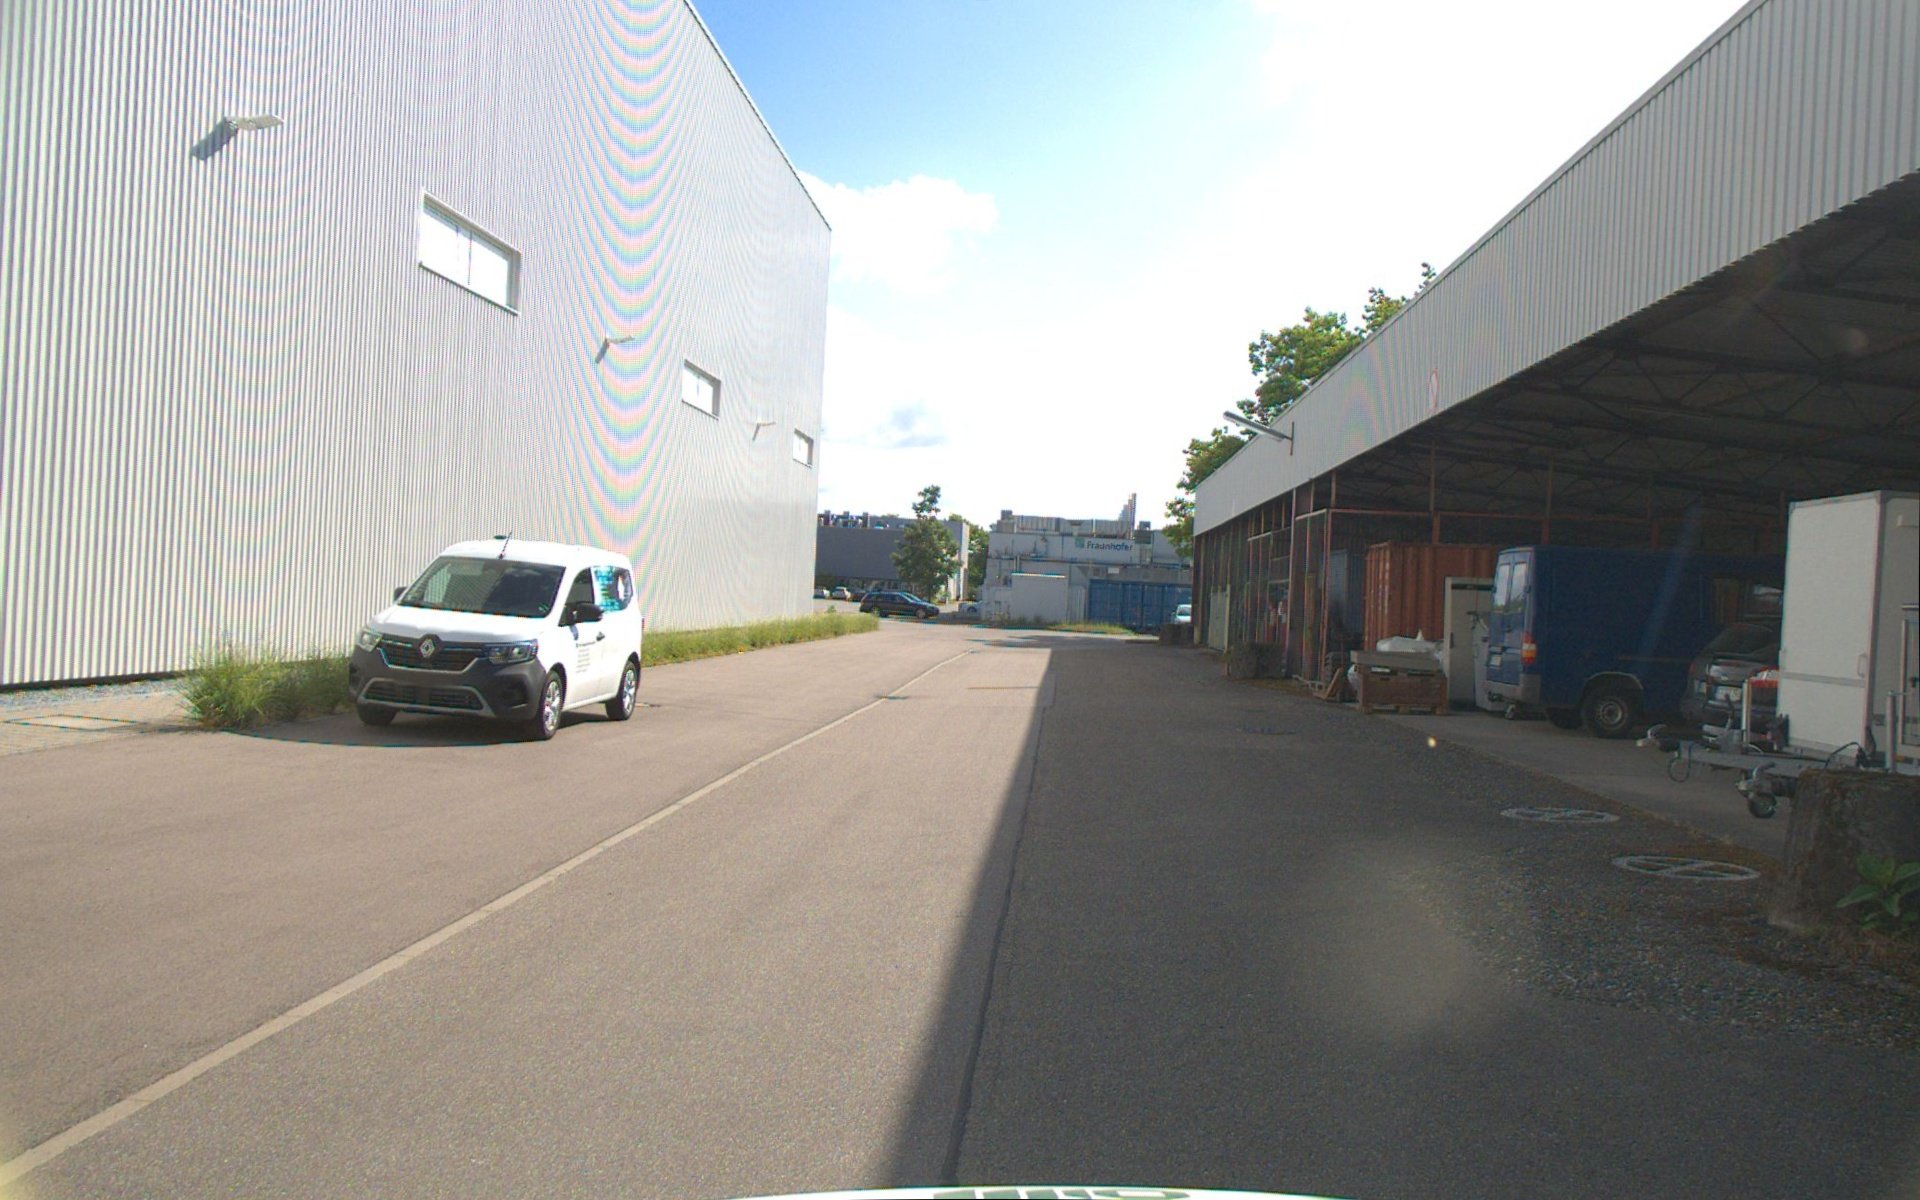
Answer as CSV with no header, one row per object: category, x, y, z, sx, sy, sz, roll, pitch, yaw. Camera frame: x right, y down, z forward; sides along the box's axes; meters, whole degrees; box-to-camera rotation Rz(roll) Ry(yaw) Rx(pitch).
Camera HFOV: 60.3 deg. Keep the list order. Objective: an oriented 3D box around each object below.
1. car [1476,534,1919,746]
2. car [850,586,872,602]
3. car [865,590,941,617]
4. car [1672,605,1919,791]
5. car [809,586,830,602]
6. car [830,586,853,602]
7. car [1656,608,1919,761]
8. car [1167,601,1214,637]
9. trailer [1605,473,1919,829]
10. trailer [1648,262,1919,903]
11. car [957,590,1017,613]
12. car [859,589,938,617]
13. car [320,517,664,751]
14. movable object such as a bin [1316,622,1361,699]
car,9.298,0.472,20.951,4.874,2.366,2.001,2,0,4
car,-11.692,-0.715,194.881,2.147,1.766,4.001,1,0,3
car,-3.494,0.205,102.034,4.430,1.534,1.910,2,0,5
car,8.911,0.878,14.866,4.239,1.522,1.777,2,0,1
car,-16.637,-0.722,196.534,1.952,1.766,4.001,1,0,3
car,-14.088,-0.712,196.732,2.147,1.766,4.001,1,0,3
car,9.893,0.912,17.945,3.906,1.498,1.788,2,0,-1
car,11.832,0.966,85.128,1.952,1.613,4.175,2,2,3
trailer,7.508,0.396,12.299,4.710,2.433,1.828,2,0,8
trailer,9.570,0.055,9.634,9.827,3.272,2.855,2,0,3
car,2.071,0.100,126.128,4.431,1.534,1.910,2,0,4
car,-3.656,0.184,98.799,4.430,1.534,1.910,2,0,5
car,-4.445,0.291,16.492,1.851,1.877,4.360,5,0,3
movable object such as a bin,6.134,0.969,26.821,0.569,1.185,1.239,2,0,8
